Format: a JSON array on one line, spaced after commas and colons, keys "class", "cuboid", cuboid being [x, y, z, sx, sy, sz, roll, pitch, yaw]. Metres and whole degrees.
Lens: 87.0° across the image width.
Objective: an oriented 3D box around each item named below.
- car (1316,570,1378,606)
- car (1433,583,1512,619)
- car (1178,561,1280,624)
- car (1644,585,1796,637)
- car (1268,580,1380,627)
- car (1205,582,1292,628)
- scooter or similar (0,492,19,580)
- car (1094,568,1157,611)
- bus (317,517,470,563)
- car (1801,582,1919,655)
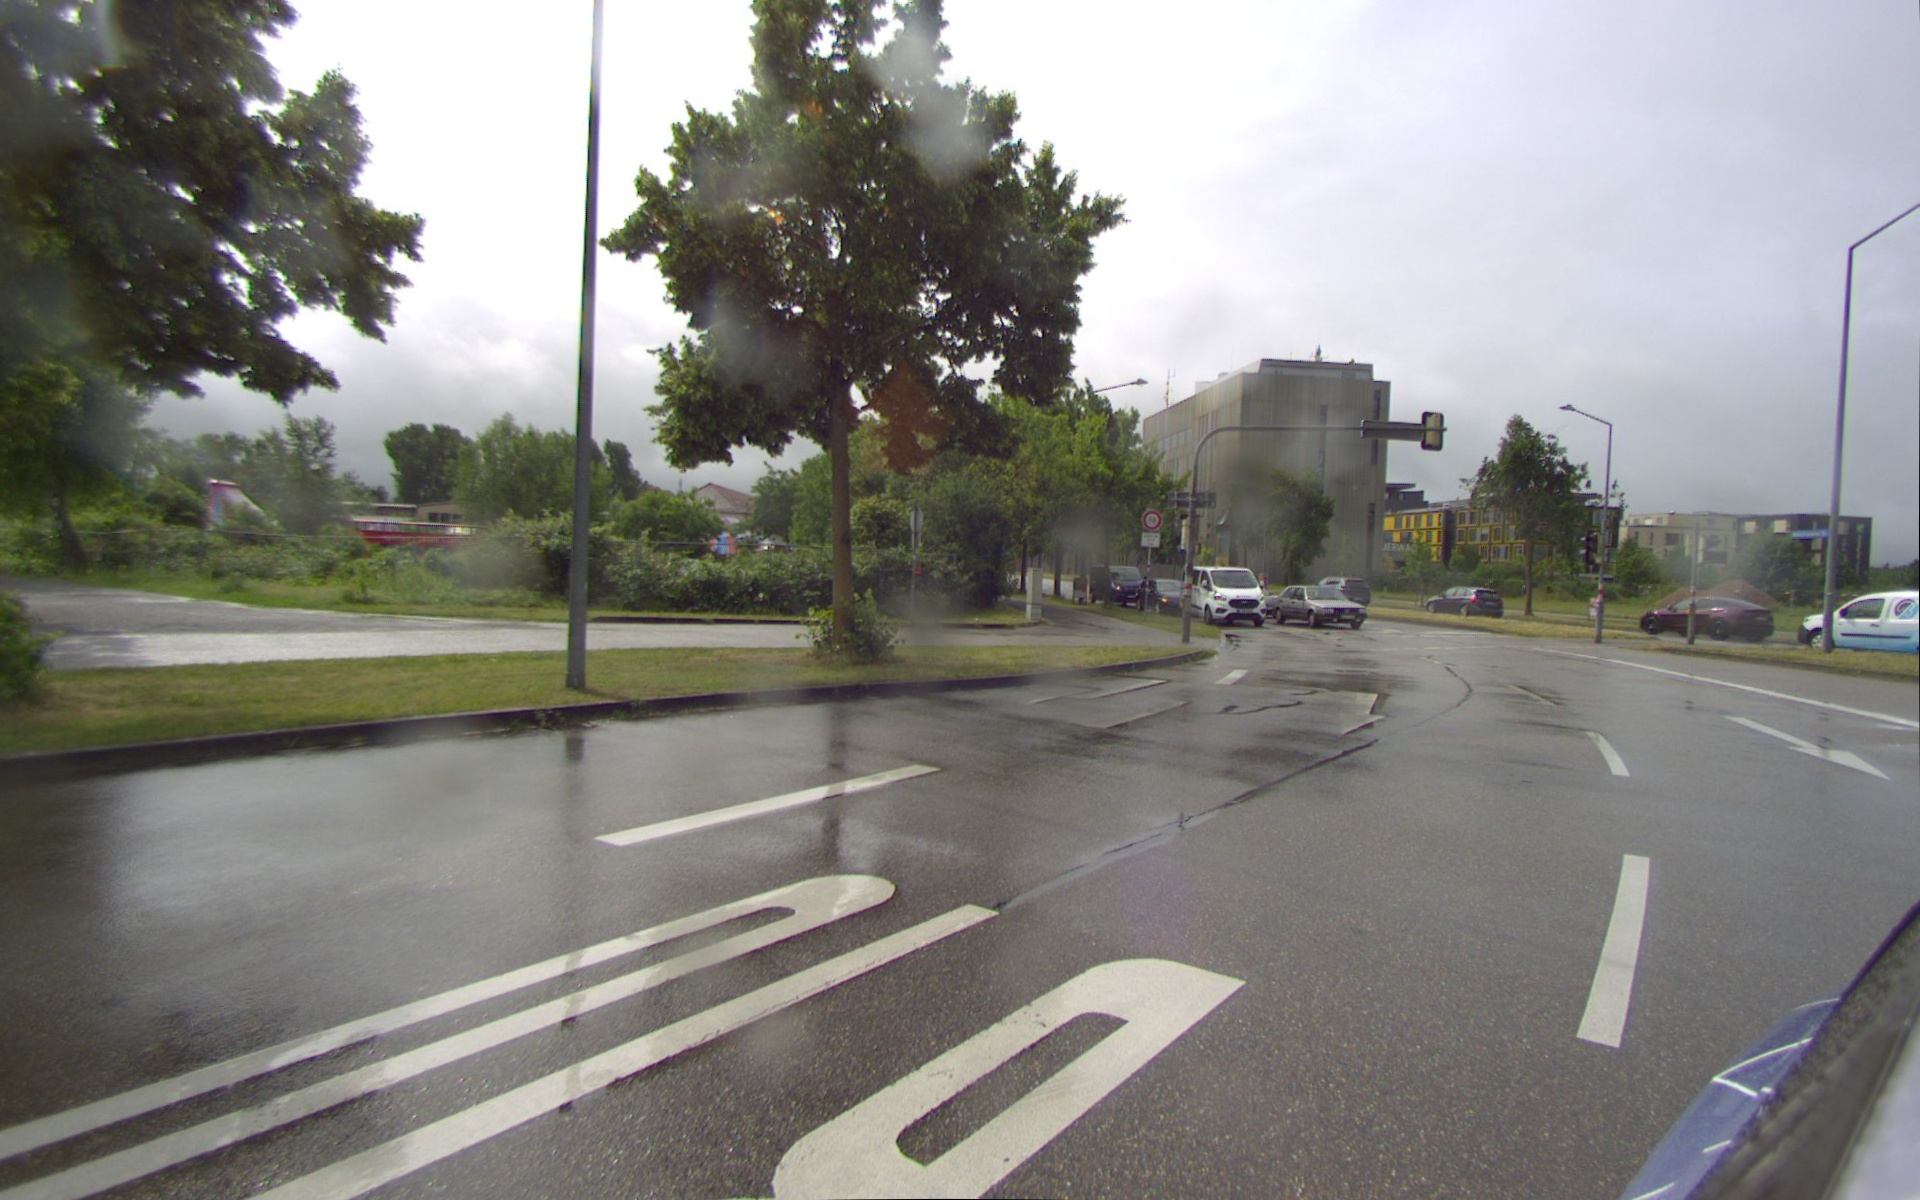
[{"class": "car", "cuboid": [21.346, -0.700, 55.942, 2.007, 1.779, 4.317, 3, 2, 5]}, {"class": "car", "cuboid": [24.888, -0.004, 49.306, 1.777, 1.547, 3.999, 3, 2, 2]}, {"class": "car", "cuboid": [9.443, -0.322, 35.971, 2.038, 2.012, 4.804, 2, 1, -3]}, {"class": "car", "cuboid": [29.074, 0.361, 38.924, 1.836, 1.677, 4.509, 3, 2, -11]}, {"class": "car", "cuboid": [12.528, 0.079, 35.163, 1.830, 1.397, 4.558, 1, 2, -6]}, {"class": "car", "cuboid": [11.776, 0.153, 41.579, 1.830, 1.554, 4.495, 2, 3, -6]}, {"class": "scooter or similar", "cuboid": [-23.932, -1.519, 24.354, 3.387, 2.039, 1.224, 1, 1, 35]}, {"class": "car", "cuboid": [8.283, -0.578, 51.113, 2.038, 2.012, 4.804, 2, 1, -3]}, {"class": "bus", "cuboid": [-46.182, -4.845, 82.759, 10.755, 3.503, 2.004, 0, 0, -14]}, {"class": "car", "cuboid": [24.732, 0.496, 26.012, 1.828, 1.784, 4.561, 2, 1, -12]}]
